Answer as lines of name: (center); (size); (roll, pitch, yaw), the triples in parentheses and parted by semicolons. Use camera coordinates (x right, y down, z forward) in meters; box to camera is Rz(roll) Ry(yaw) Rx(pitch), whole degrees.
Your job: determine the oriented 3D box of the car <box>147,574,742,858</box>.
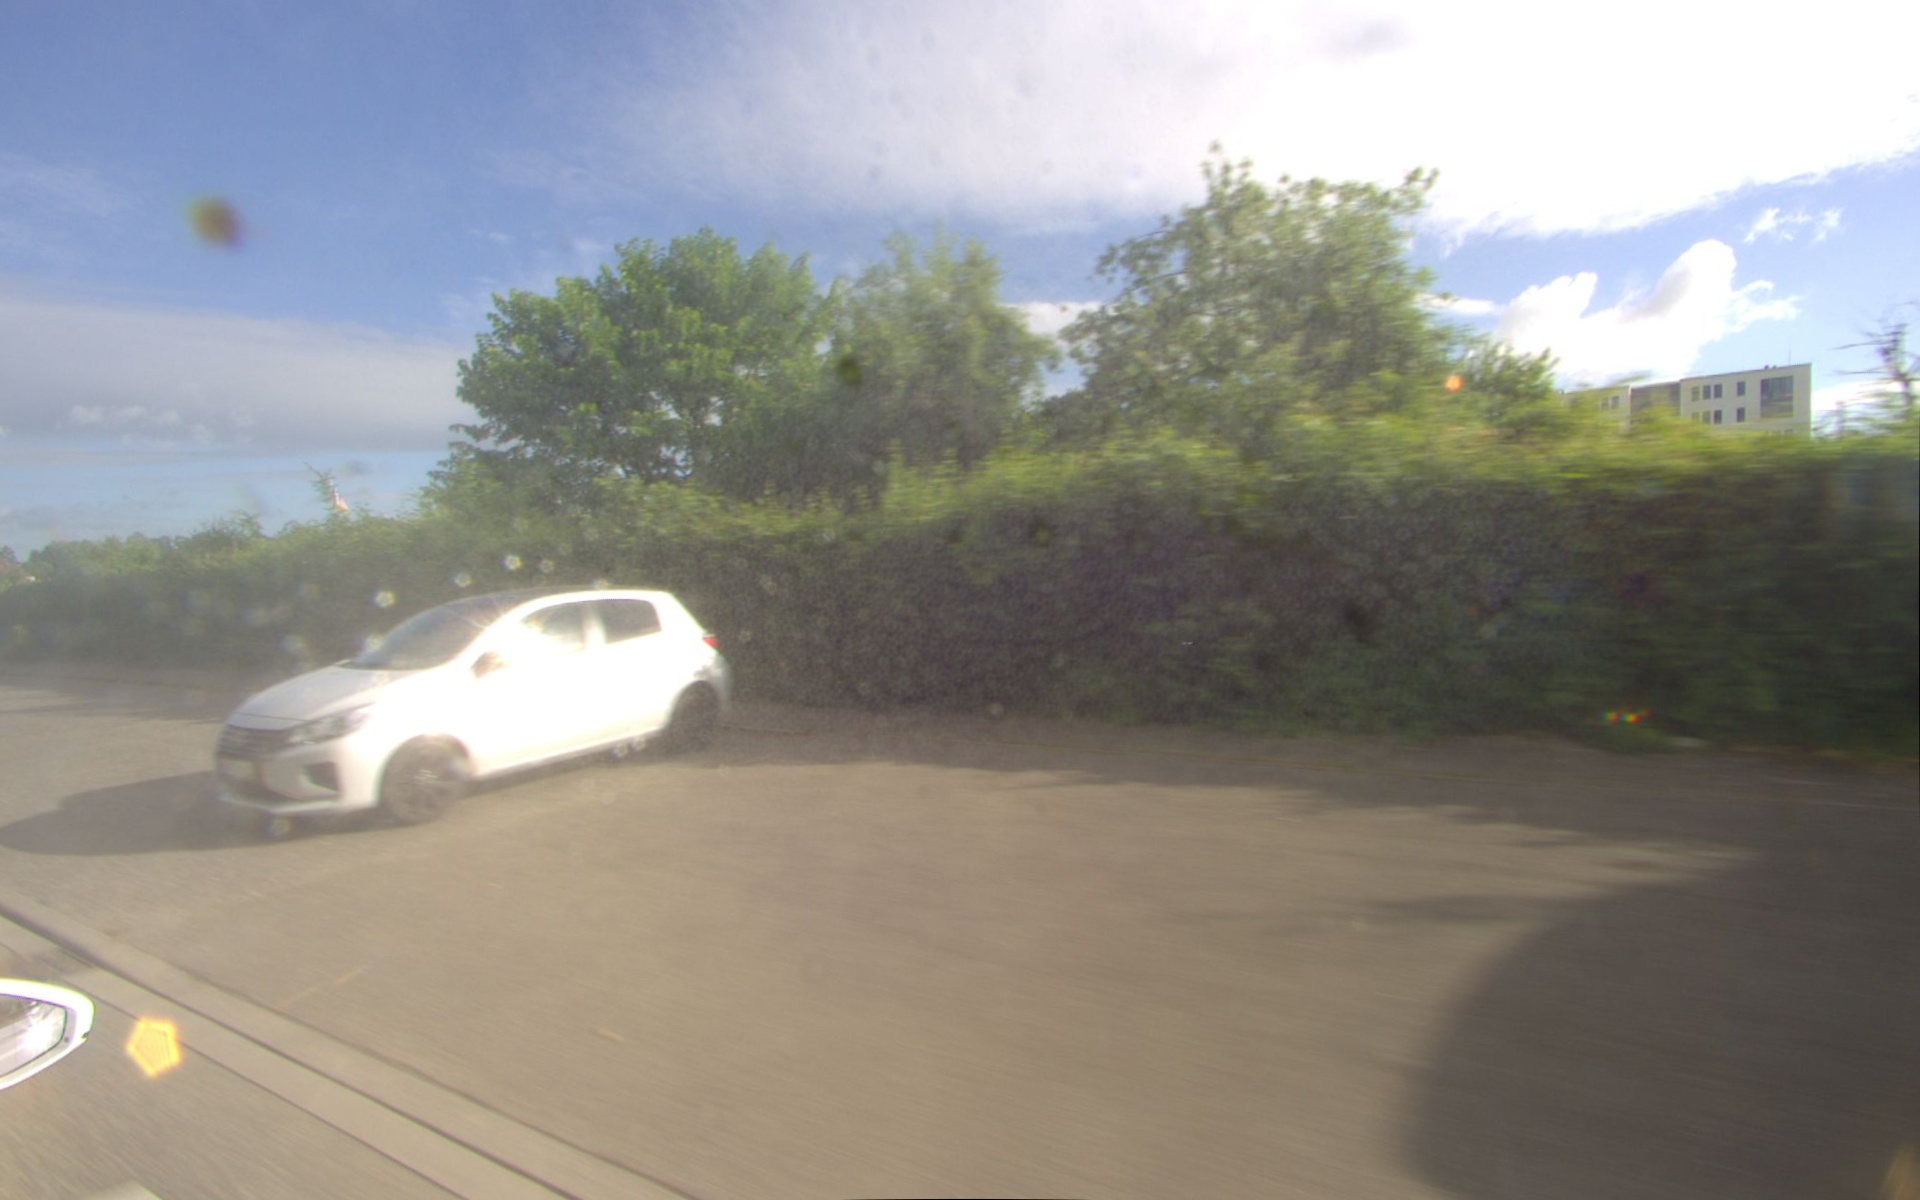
car: (-3.730, 0.644, 7.973); (1.667, 1.511, 3.846); (0, 4, 31)
